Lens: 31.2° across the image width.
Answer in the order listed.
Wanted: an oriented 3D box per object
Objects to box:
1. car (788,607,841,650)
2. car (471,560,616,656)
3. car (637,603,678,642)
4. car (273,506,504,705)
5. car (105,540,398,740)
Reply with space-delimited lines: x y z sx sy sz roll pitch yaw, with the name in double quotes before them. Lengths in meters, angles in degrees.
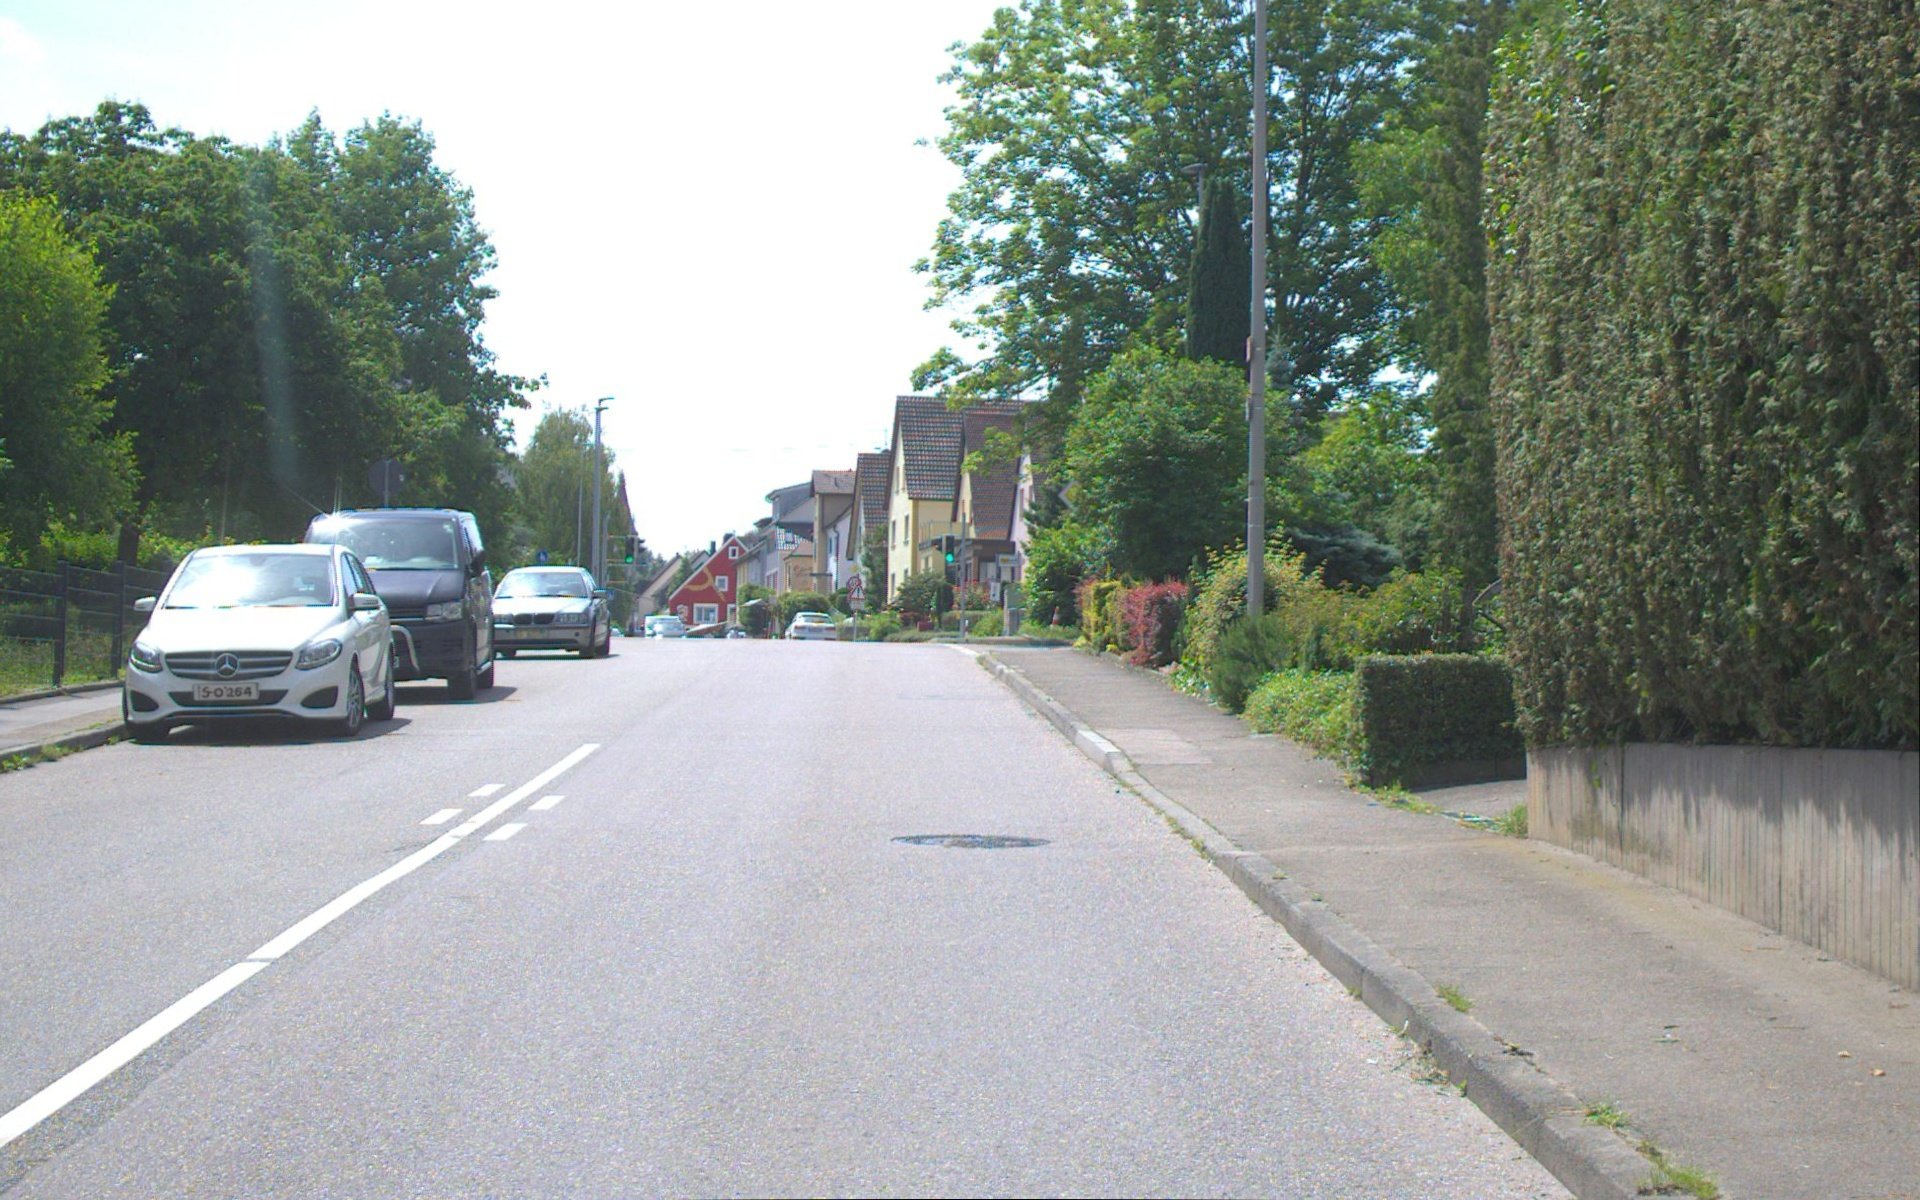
"car" -5.664 1.097 133.621 1.993 1.598 4.000 0 1 -3
"car" -6.358 0.123 52.890 1.780 1.390 4.409 -1 0 -1
"car" -16.077 1.174 182.467 1.879 1.958 4.904 0 1 -8
"car" -5.915 0.015 36.084 1.896 1.913 4.871 -1 1 -4
"car" -5.834 0.275 28.754 1.811 1.544 4.244 0 1 -4
